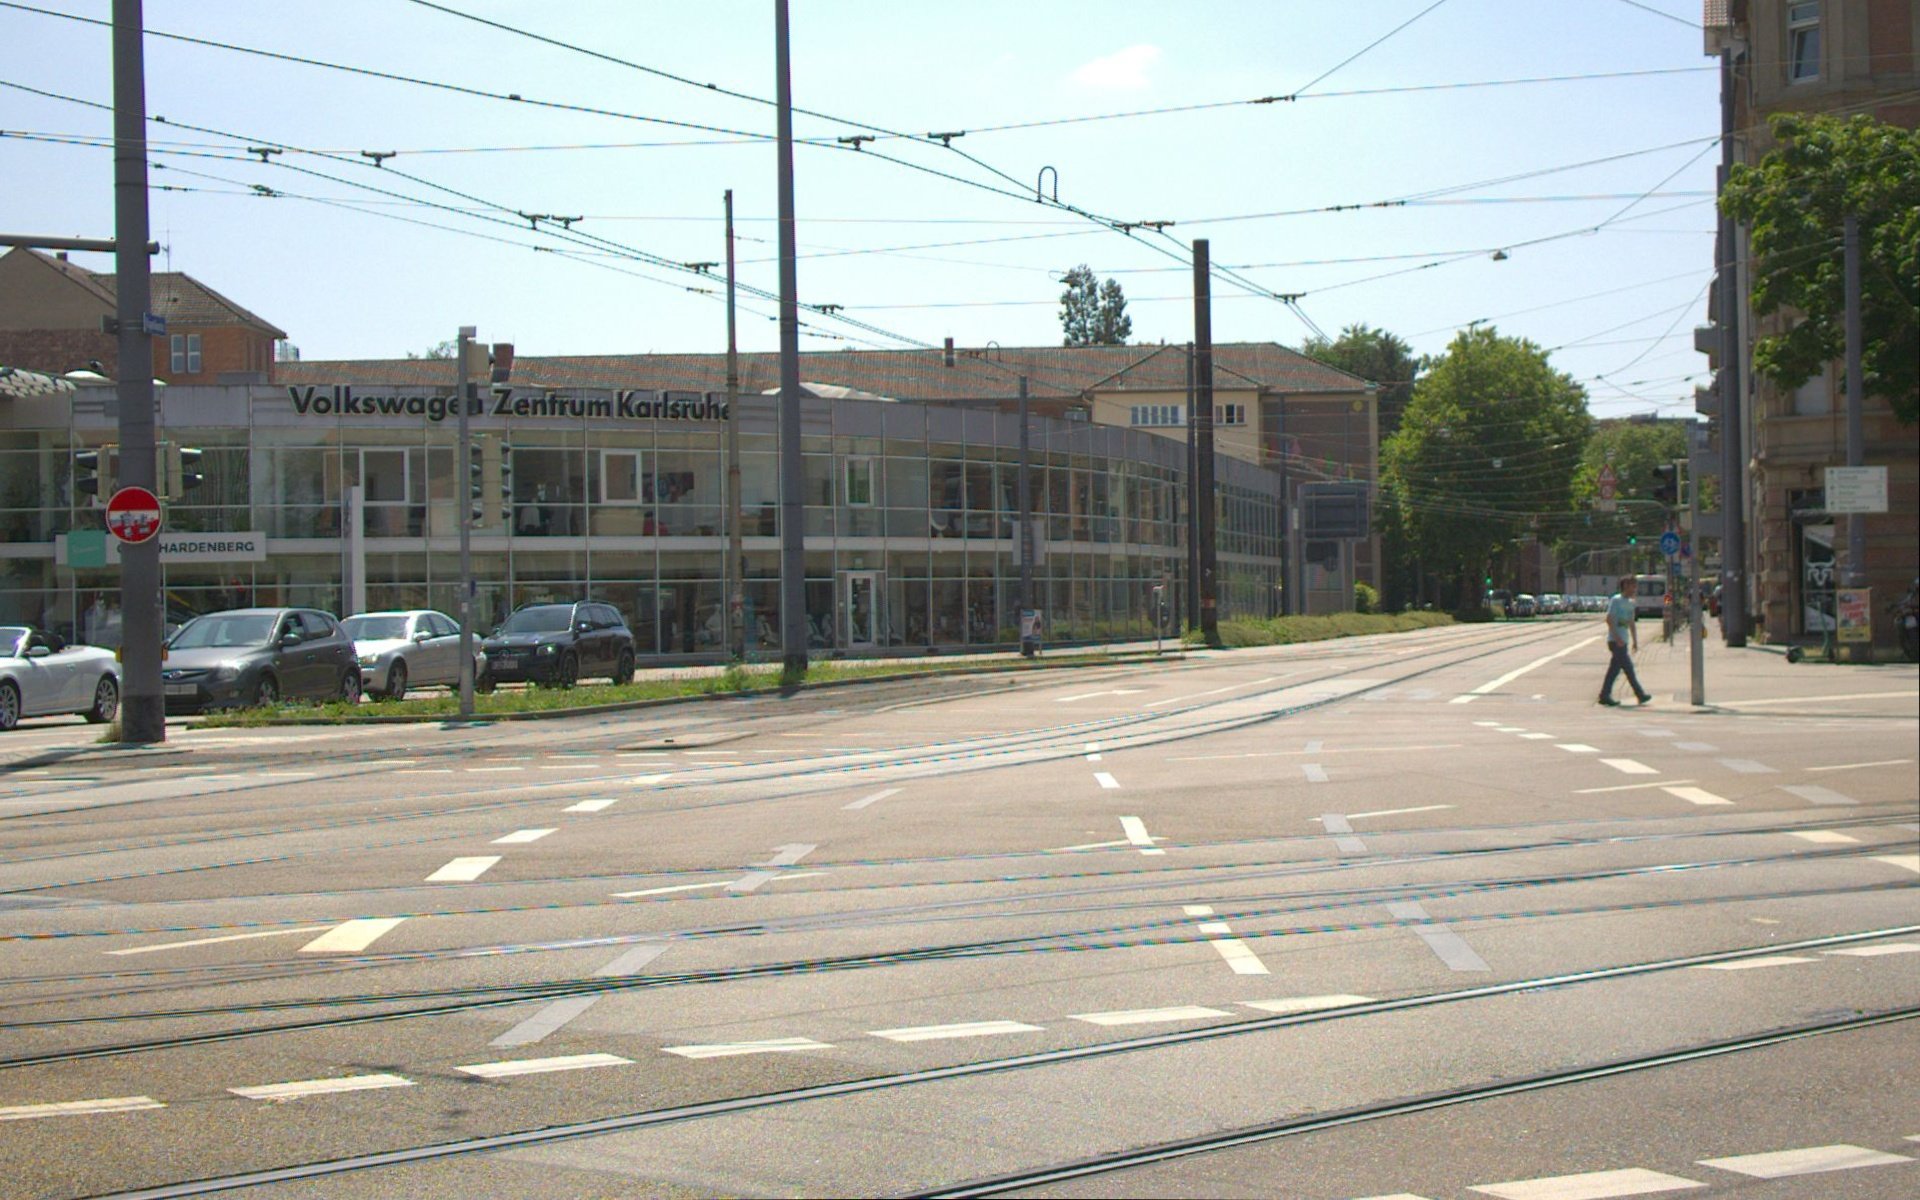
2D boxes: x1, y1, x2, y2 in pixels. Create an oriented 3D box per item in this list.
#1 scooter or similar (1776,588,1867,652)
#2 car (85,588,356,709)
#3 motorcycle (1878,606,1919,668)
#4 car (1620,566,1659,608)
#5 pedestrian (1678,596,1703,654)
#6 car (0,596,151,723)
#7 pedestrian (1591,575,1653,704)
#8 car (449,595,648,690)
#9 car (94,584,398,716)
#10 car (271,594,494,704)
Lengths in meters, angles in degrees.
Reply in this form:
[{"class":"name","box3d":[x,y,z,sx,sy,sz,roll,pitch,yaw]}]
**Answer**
[{"class":"scooter or similar","box3d":[16.018,0.368,63.936,1.786,1.177,0.599,-1,0,-35]},{"class":"car","box3d":[-10.935,0.686,51.226,1.995,1.695,4.843,-1,0,14]},{"class":"motorcycle","box3d":[16.872,0.650,61.188,0.580,1.071,1.946,-1,0,1]},{"class":"car","box3d":[37.469,-0.681,189.439,1.994,2.174,4.366,1,-1,12]},{"class":"pedestrian","box3d":[25.387,0.874,119.463,0.768,2.007,0.663,1,-1,10]},{"class":"car","box3d":[-12.584,0.750,45.014,2.077,1.575,4.844,-1,0,11]},{"class":"pedestrian","box3d":[8.761,0.519,45.513,0.461,1.702,0.640,-1,0,-36]},{"class":"car","box3d":[-7.619,0.761,64.172,2.080,1.677,4.843,-1,0,14]},{"class":"car","box3d":[-9.351,0.620,45.457,1.995,1.632,4.843,-1,0,14]},{"class":"car","box3d":[-9.574,0.788,57.406,1.995,1.733,4.540,-1,0,14]}]
